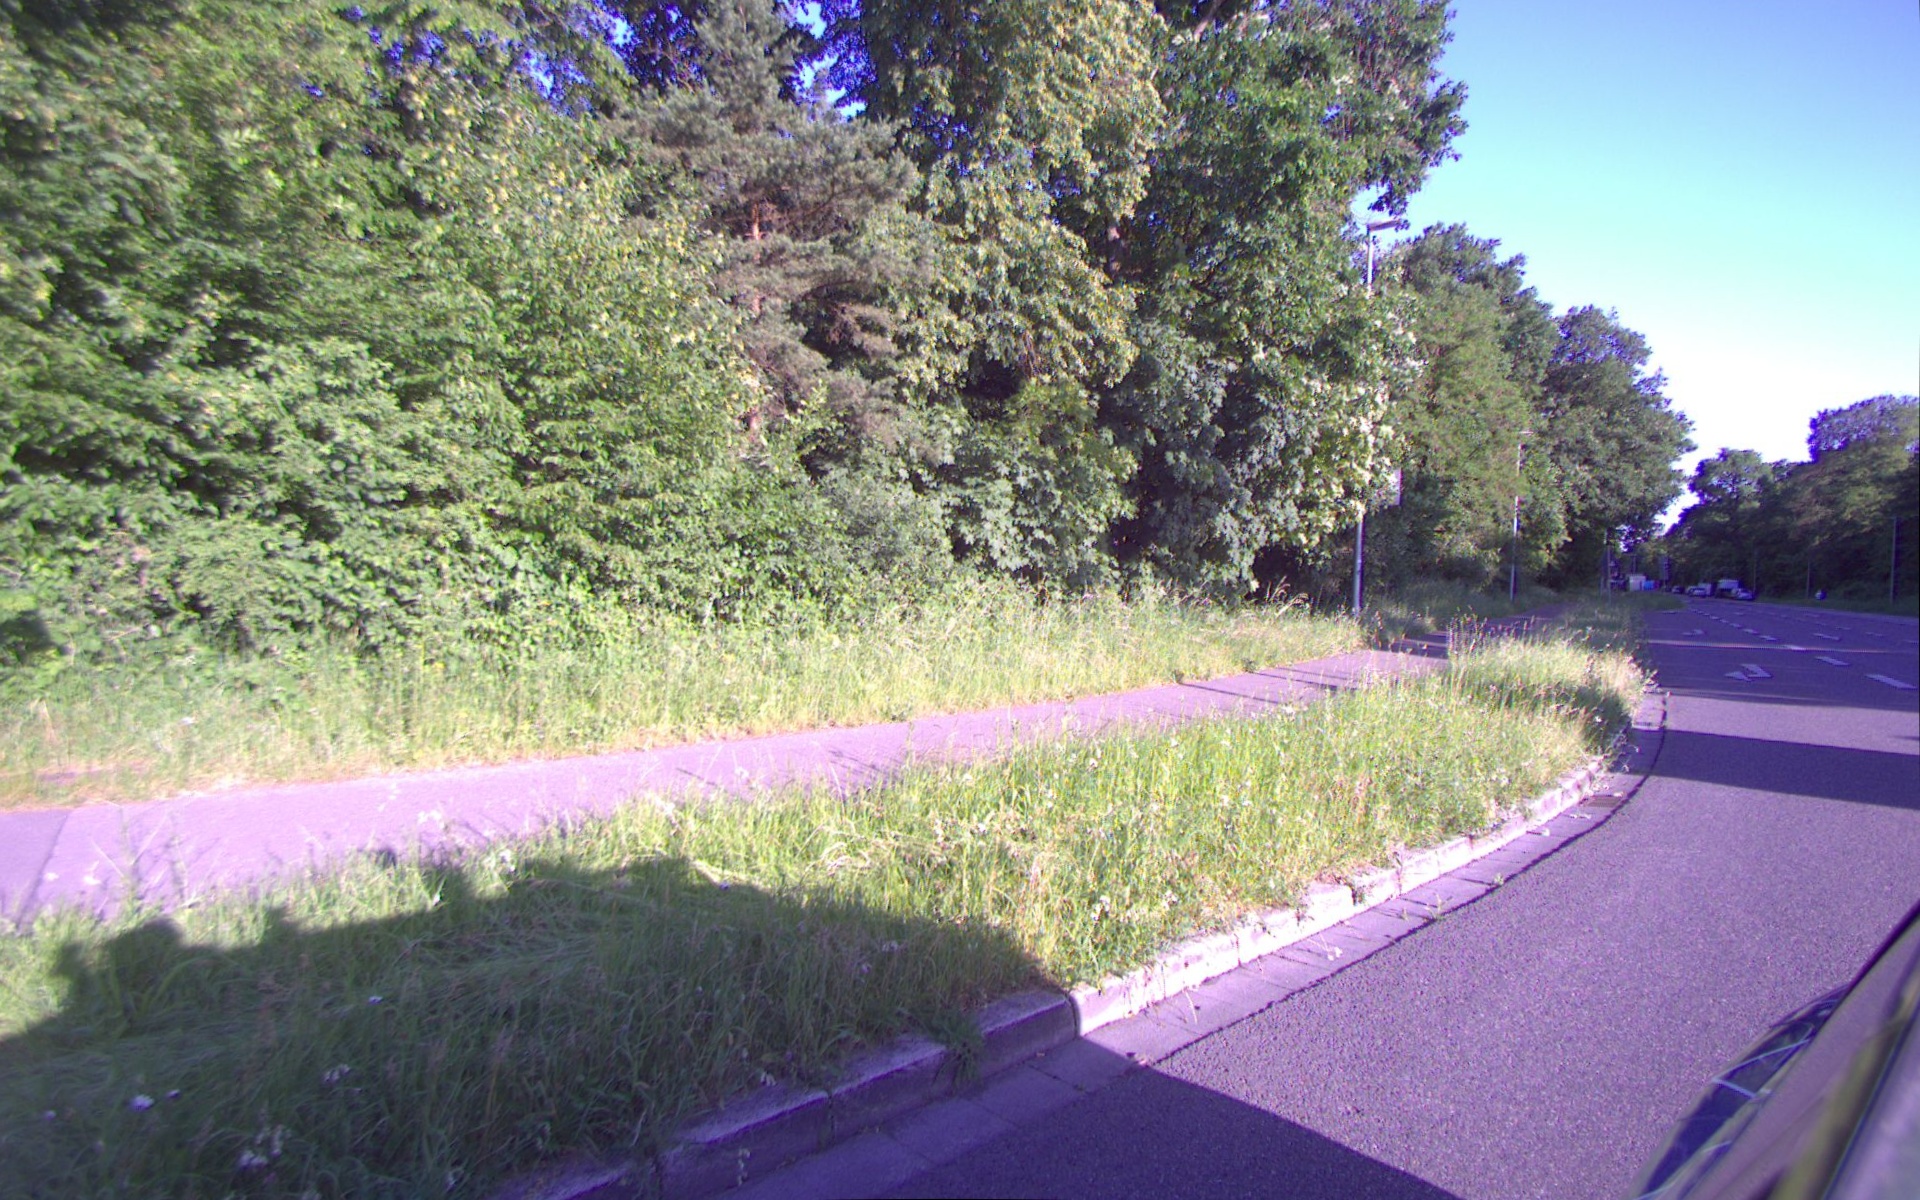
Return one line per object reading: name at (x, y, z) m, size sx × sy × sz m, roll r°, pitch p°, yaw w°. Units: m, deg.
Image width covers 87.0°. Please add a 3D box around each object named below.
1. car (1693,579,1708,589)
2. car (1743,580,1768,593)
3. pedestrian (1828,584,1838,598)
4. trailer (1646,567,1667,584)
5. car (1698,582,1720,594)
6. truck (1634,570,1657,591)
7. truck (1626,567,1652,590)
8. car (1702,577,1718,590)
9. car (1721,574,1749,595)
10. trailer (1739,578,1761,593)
car at (134.030, -2.927, 183.223) m, size 1.793 × 1.523 × 3.871 m, roll 4°, pitch 4°, yaw 30°
car at (102.800, -1.780, 130.758) m, size 1.901 × 1.481 × 3.969 m, roll 4°, pitch 4°, yaw 30°
pedestrian at (96.980, -0.983, 112.406) m, size 0.709 × 1.584 × 0.816 m, roll 3°, pitch 2°, yaw 34°
trailer at (91.261, -3.224, 132.628) m, size 1.855 × 2.205 × 4.085 m, roll 1°, pitch 2°, yaw 31°
car at (106.610, -1.724, 144.060) m, size 1.819 × 1.473 × 4.434 m, roll 3°, pitch 2°, yaw 29°
truck at (100.214, -2.855, 148.026) m, size 2.372 × 2.907 × 5.539 m, roll 0°, pitch 1°, yaw 31°
truck at (104.890, -3.380, 156.437) m, size 2.686 × 3.276 × 7.053 m, roll 4°, pitch 3°, yaw 30°
car at (127.787, -2.878, 172.476) m, size 1.679 × 2.127 × 4.583 m, roll 4°, pitch 3°, yaw 30°
car at (111.173, -2.269, 145.243) m, size 2.443 × 2.881 × 4.748 m, roll 4°, pitch 3°, yaw 30°
trailer at (105.246, -1.960, 134.869) m, size 1.793 × 1.750 × 3.609 m, roll 4°, pitch 3°, yaw 30°
